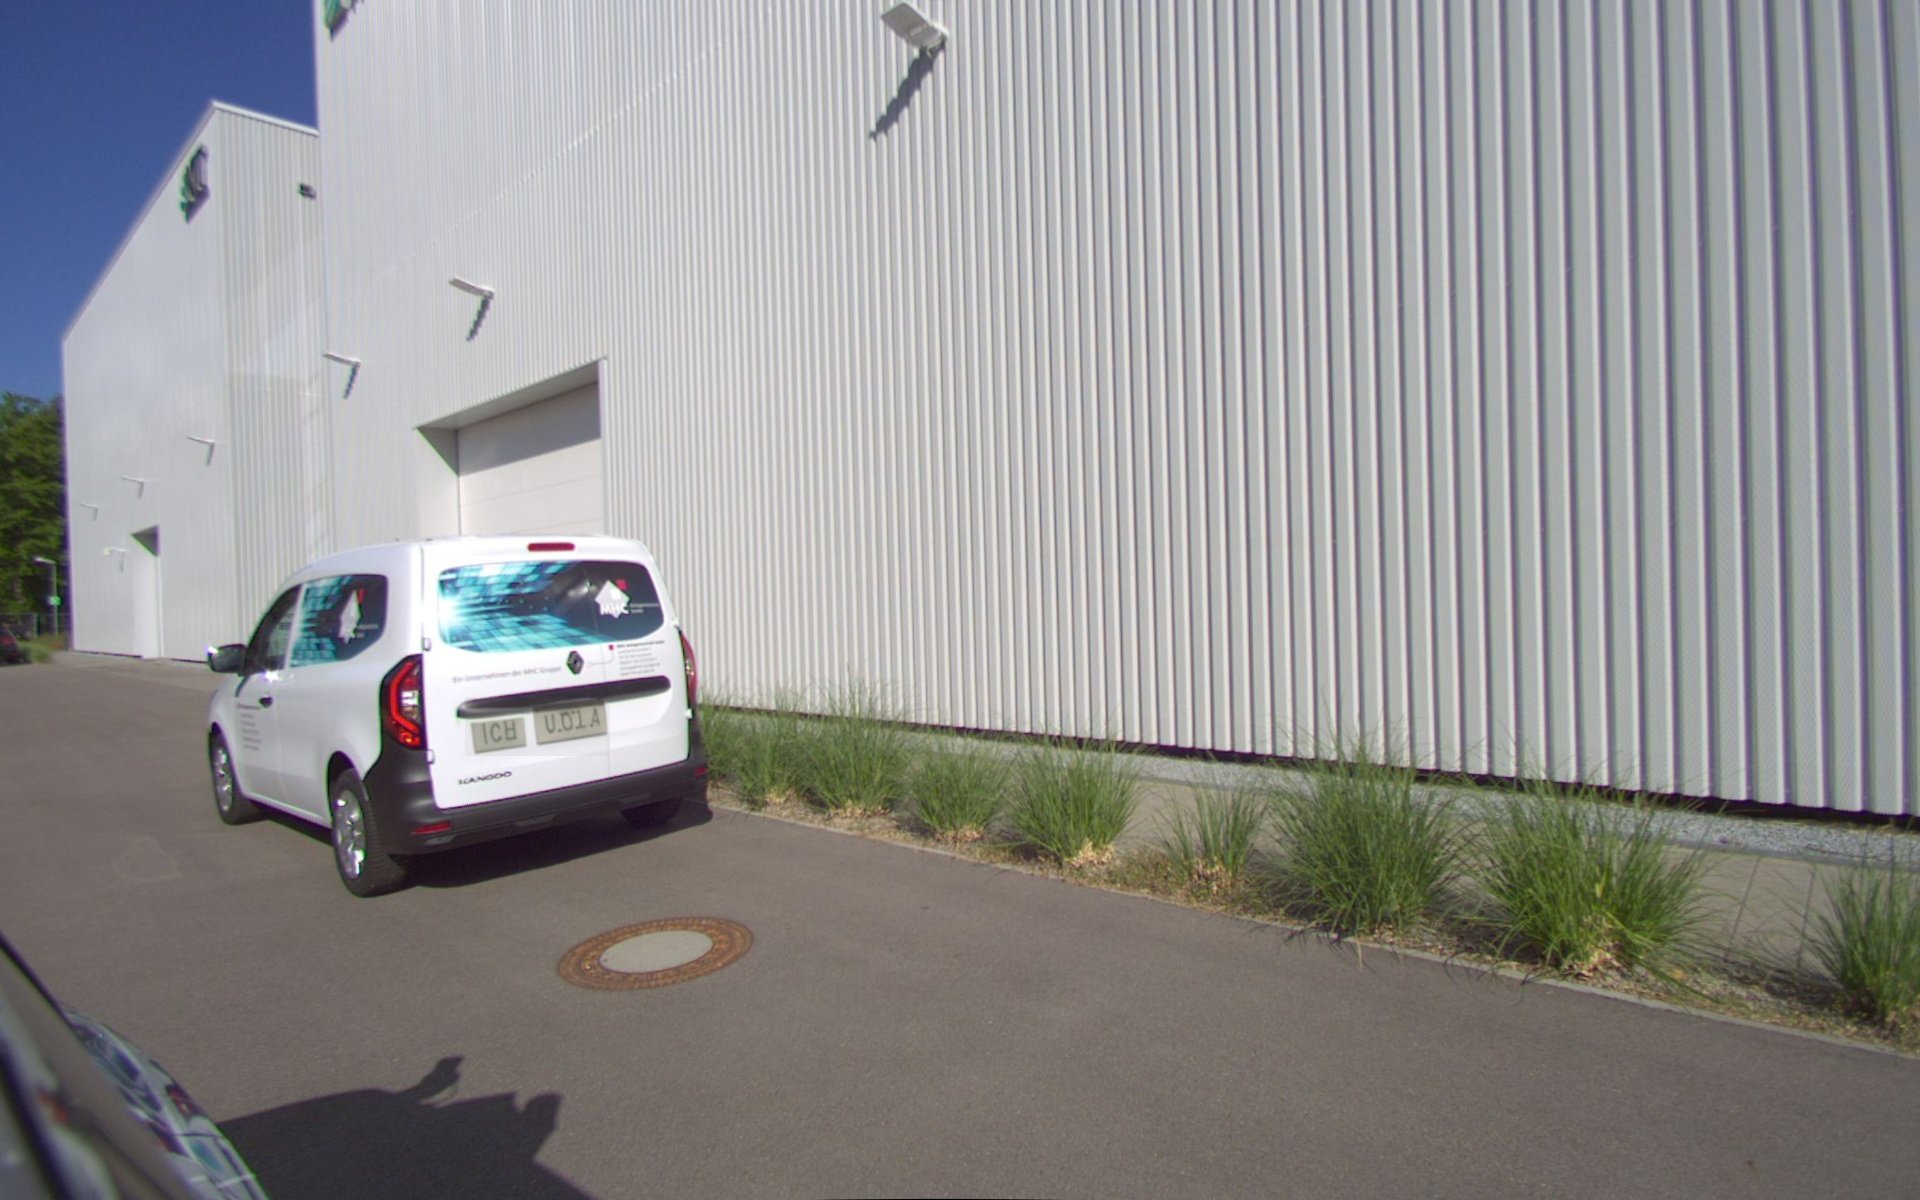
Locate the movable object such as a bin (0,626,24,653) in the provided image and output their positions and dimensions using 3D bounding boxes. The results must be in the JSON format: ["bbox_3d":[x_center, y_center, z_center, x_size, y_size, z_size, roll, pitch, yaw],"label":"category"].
[{"bbox_3d":[-52.231,2.182,55.557,1.289,1.445,1.125,-2,-2,43],"label":"movable object such as a bin"}]

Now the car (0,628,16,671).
[{"bbox_3d":[-34.928,1.815,35.925,4.314,1.456,1.737,-3,1,43],"label":"car"}]

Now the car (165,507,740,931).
[{"bbox_3d":[-3.548,0.514,6.573,4.601,1.829,1.764,-1,2,43],"label":"car"}]

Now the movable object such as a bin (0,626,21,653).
[{"bbox_3d":[-53.221,2.219,56.495,1.279,1.489,1.125,-3,-3,43],"label":"movable object such as a bin"}]
